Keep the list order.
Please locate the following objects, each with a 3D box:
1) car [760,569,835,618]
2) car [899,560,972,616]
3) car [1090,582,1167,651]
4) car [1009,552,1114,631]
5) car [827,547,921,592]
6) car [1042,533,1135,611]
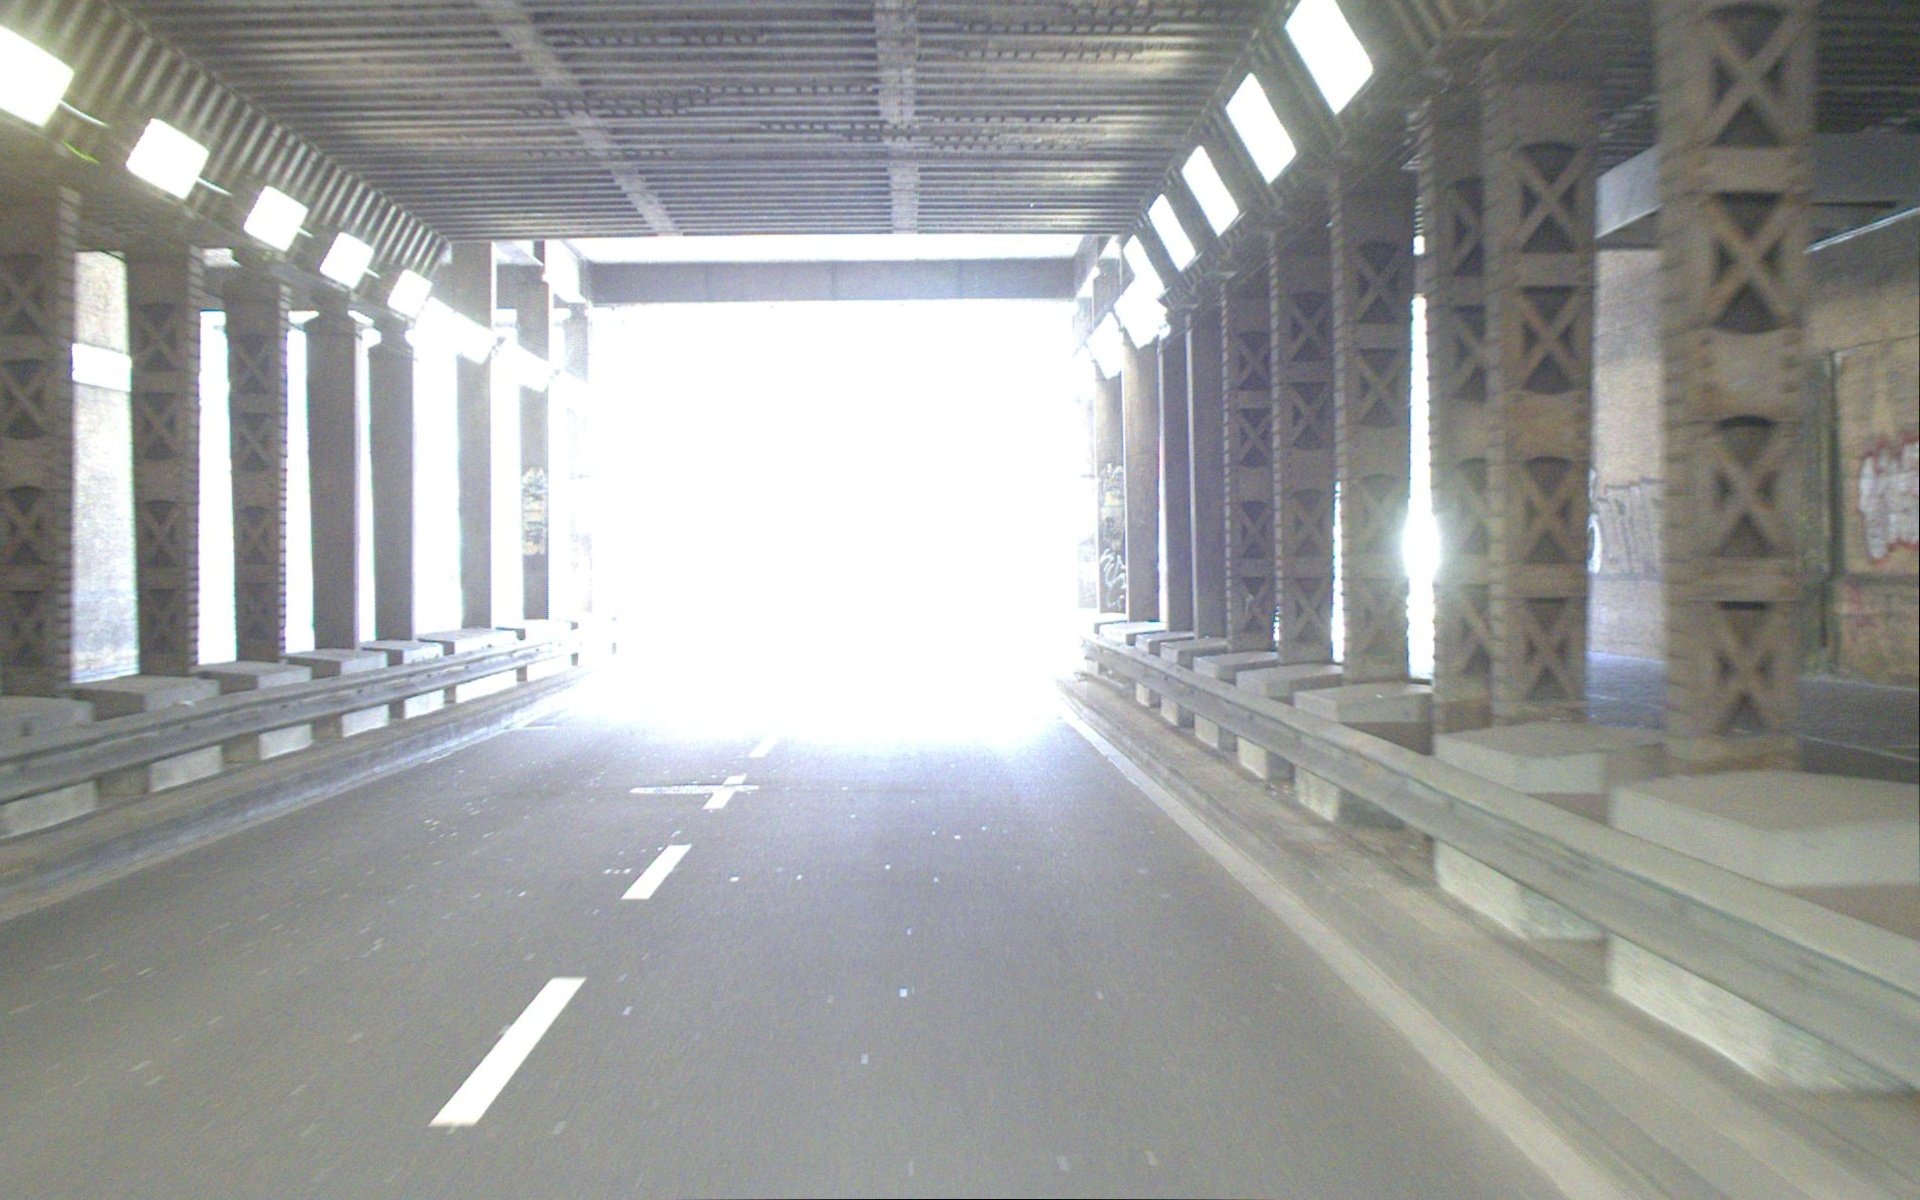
[{"bbox_3d":[-4.806,-0.212,101.978,1.752,1.400,4.415,0,1,4],"label":"car"},{"bbox_3d":[-0.606,-0.315,88.049,1.786,1.389,4.105,0,1,1],"label":"car"},{"bbox_3d":[3.886,0.360,78.990,1.731,1.495,4.000,0,1,3],"label":"car"},{"bbox_3d":[1.997,-0.188,68.674,1.947,1.523,4.090,0,1,0],"label":"car"},{"bbox_3d":[-3.038,-1.081,122.356,1.926,1.568,3.876,0,1,23],"label":"car"},{"bbox_3d":[3.376,-0.747,91.194,2.172,2.002,4.808,0,0,-1],"label":"car"}]
